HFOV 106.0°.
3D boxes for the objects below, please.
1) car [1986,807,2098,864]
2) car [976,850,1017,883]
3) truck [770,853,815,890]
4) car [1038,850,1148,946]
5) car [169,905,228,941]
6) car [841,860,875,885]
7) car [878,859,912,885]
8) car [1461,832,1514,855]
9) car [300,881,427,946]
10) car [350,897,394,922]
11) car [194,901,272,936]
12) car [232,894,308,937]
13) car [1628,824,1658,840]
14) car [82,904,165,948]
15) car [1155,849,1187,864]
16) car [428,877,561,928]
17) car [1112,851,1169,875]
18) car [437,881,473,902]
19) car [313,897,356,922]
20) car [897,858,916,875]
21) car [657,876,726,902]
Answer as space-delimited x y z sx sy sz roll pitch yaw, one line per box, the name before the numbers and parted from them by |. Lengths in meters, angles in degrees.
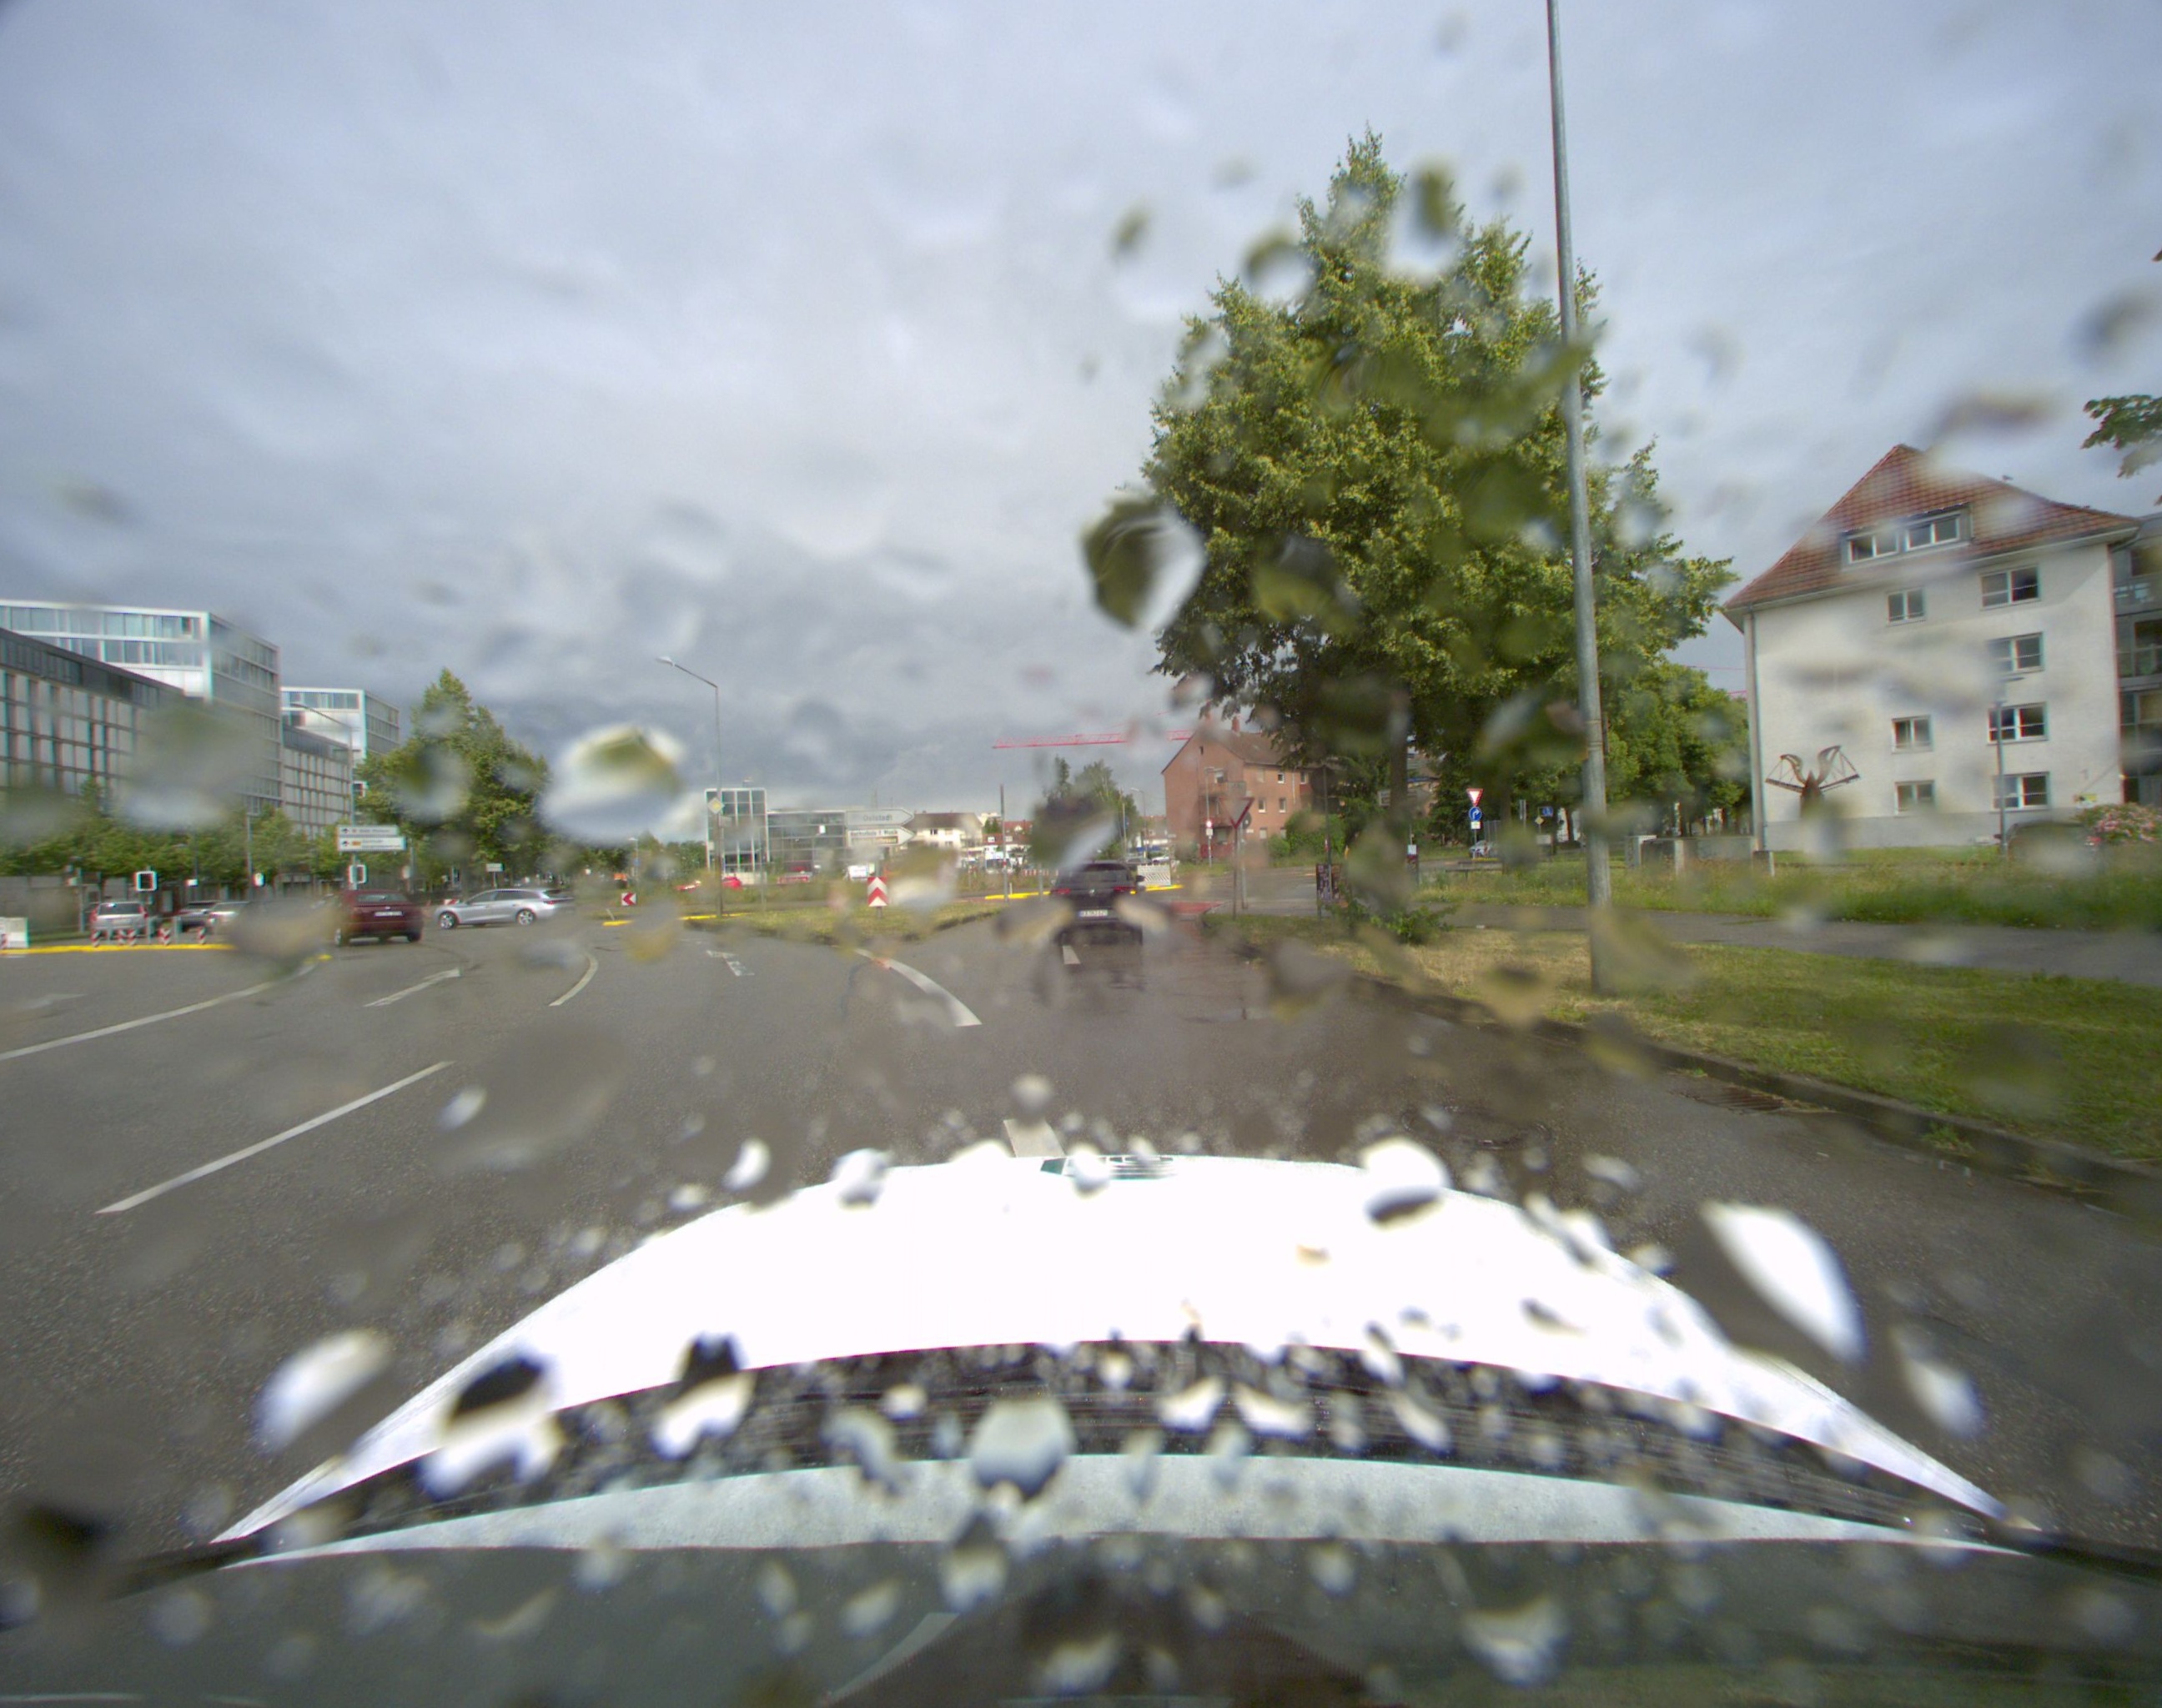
car | 27.762 -0.563 23.640 1.655 1.482 3.762 -3 0 43
car | -6.218 0.841 59.284 2.039 2.084 6.236 -2 2 -14
truck | -20.253 1.175 57.494 2.394 2.211 6.071 -2 2 -15
car | 0.304 0.776 16.449 1.890 1.617 4.003 -3 0 2
car | -44.882 3.484 41.497 1.582 1.560 3.634 -3 1 -41
car | -16.842 1.362 61.463 1.860 1.700 3.969 -2 2 -24
car | -13.682 1.280 59.659 1.930 1.700 3.974 -2 2 -19
car | 33.970 -0.927 67.969 4.721 1.732 2.058 -3 2 -37
car | -19.126 1.572 21.654 3.948 1.462 1.731 -4 0 37
car | -48.429 3.740 55.688 1.504 1.510 3.468 -1 -1 -28
car | -38.640 2.903 37.200 1.710 1.367 3.804 -2 0 -35
car | -33.443 2.513 33.553 3.454 1.560 1.560 -2 0 35
car | 67.243 -2.674 97.380 4.725 1.732 2.056 -3 2 -43
car | -40.835 3.020 34.817 1.557 1.560 3.460 -3 0 -38
car | 10.224 0.247 92.528 3.487 1.519 1.622 -3 0 11
car | -21.428 1.735 29.877 3.534 1.560 1.597 -3 0 -6
car | 4.526 0.688 62.608 4.048 1.632 1.610 -3 0 -12
car | -63.681 3.803 82.940 2.003 2.013 3.967 -2 0 -25
car | -51.630 3.806 56.347 1.505 1.510 3.465 -2 -1 -31
car | -23.853 1.647 111.235 2.376 2.084 4.947 -2 2 -14
car | -27.086 2.420 56.732 4.201 1.510 1.842 -3 2 -26
